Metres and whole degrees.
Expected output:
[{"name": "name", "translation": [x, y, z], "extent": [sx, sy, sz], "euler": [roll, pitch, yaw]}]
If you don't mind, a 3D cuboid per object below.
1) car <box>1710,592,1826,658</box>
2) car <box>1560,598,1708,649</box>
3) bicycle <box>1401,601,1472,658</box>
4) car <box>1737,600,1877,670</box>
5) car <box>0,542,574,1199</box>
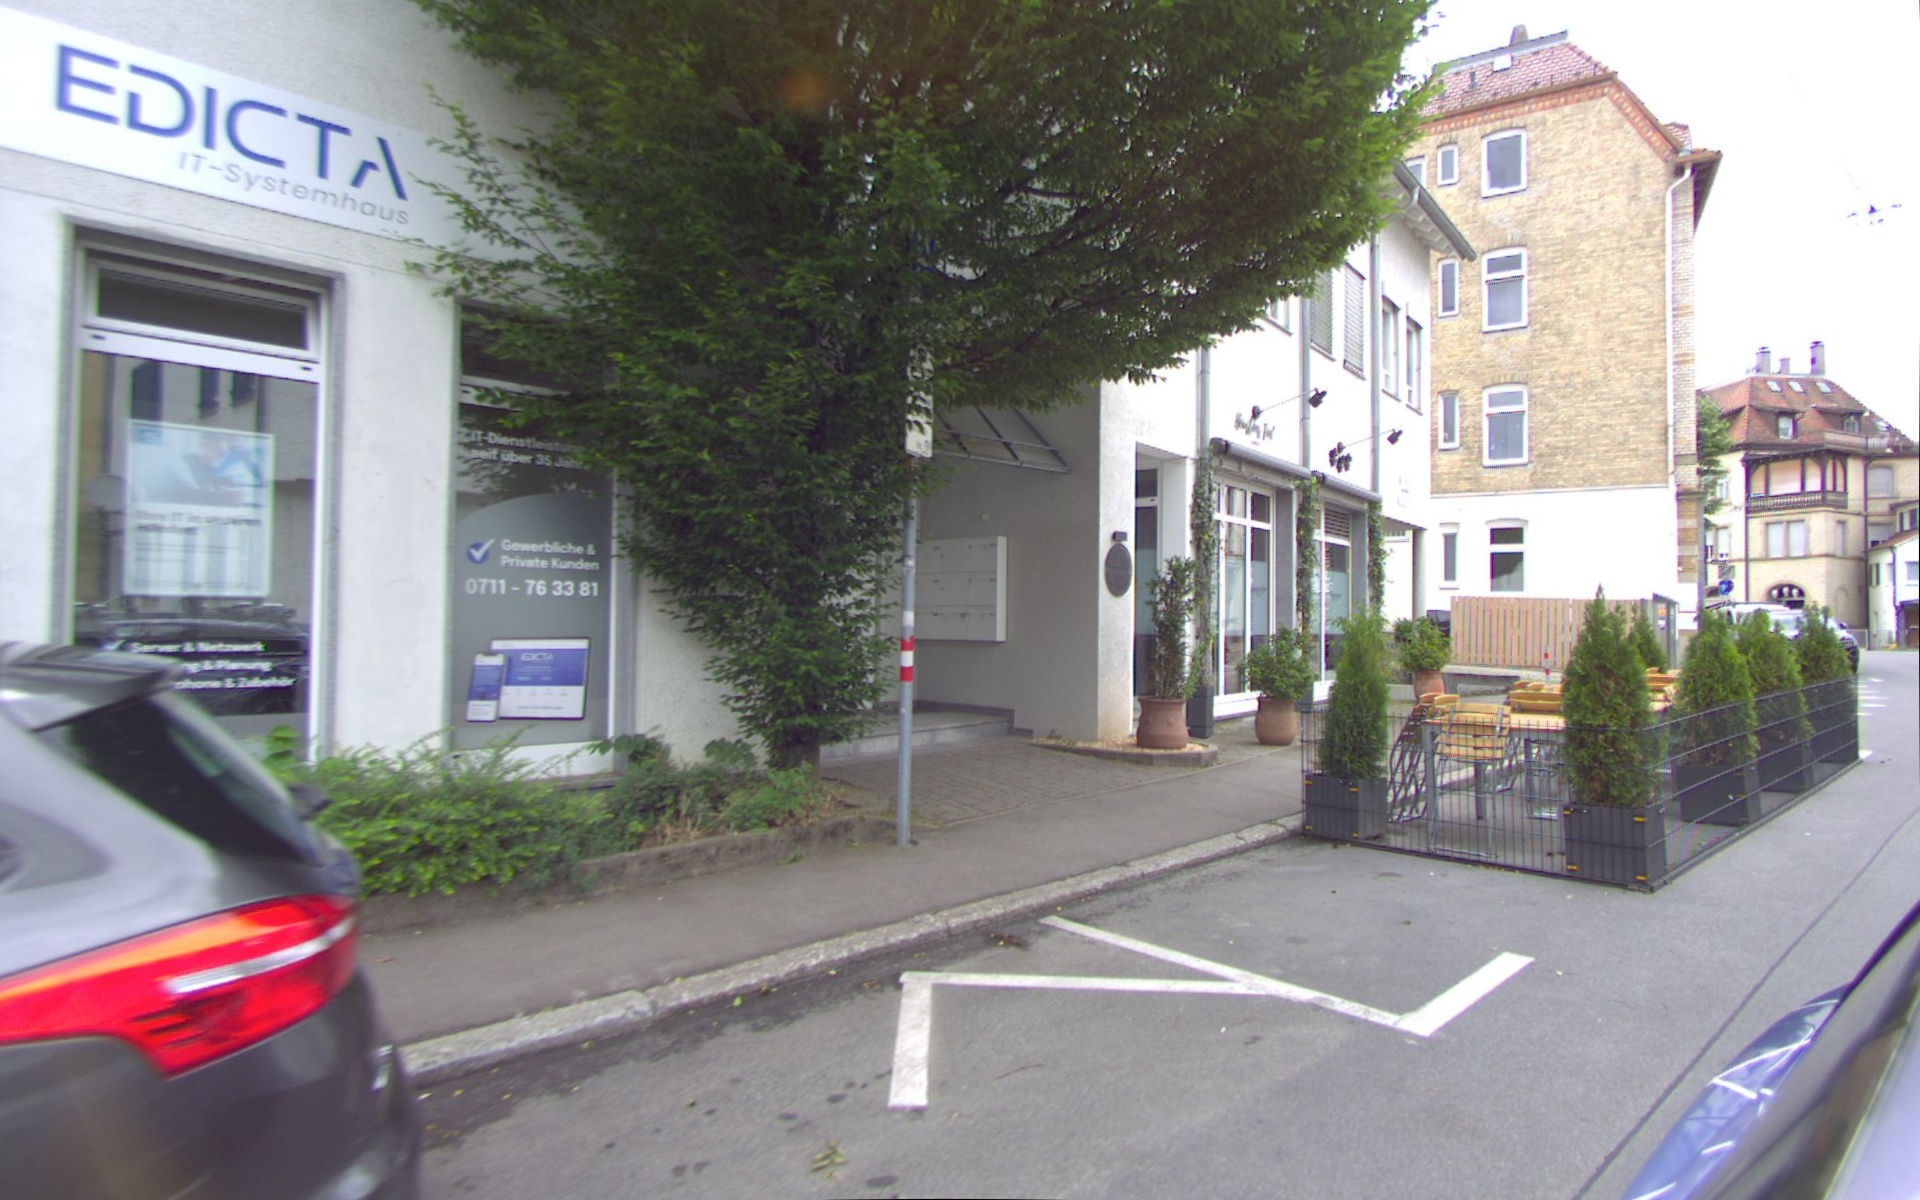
[{"name": "car", "translation": [24.104, 0.740, 30.365], "extent": [1.813, 1.815, 4.179], "euler": [-1, -1, 26]}, {"name": "car", "translation": [24.207, 0.837, 36.473], "extent": [1.826, 1.726, 4.023], "euler": [0, -1, -34]}, {"name": "bicycle", "translation": [11.134, 0.687, 23.604], "extent": [0.958, 1.234, 2.068], "euler": [3, -1, 41]}, {"name": "car", "translation": [21.696, 0.847, 26.129], "extent": [1.776, 1.621, 4.498], "euler": [-1, -1, 27]}, {"name": "car", "translation": [-3.028, 0.708, 0.803], "extent": [4.735, 1.527, 1.951], "euler": [0, -1, -40]}]
